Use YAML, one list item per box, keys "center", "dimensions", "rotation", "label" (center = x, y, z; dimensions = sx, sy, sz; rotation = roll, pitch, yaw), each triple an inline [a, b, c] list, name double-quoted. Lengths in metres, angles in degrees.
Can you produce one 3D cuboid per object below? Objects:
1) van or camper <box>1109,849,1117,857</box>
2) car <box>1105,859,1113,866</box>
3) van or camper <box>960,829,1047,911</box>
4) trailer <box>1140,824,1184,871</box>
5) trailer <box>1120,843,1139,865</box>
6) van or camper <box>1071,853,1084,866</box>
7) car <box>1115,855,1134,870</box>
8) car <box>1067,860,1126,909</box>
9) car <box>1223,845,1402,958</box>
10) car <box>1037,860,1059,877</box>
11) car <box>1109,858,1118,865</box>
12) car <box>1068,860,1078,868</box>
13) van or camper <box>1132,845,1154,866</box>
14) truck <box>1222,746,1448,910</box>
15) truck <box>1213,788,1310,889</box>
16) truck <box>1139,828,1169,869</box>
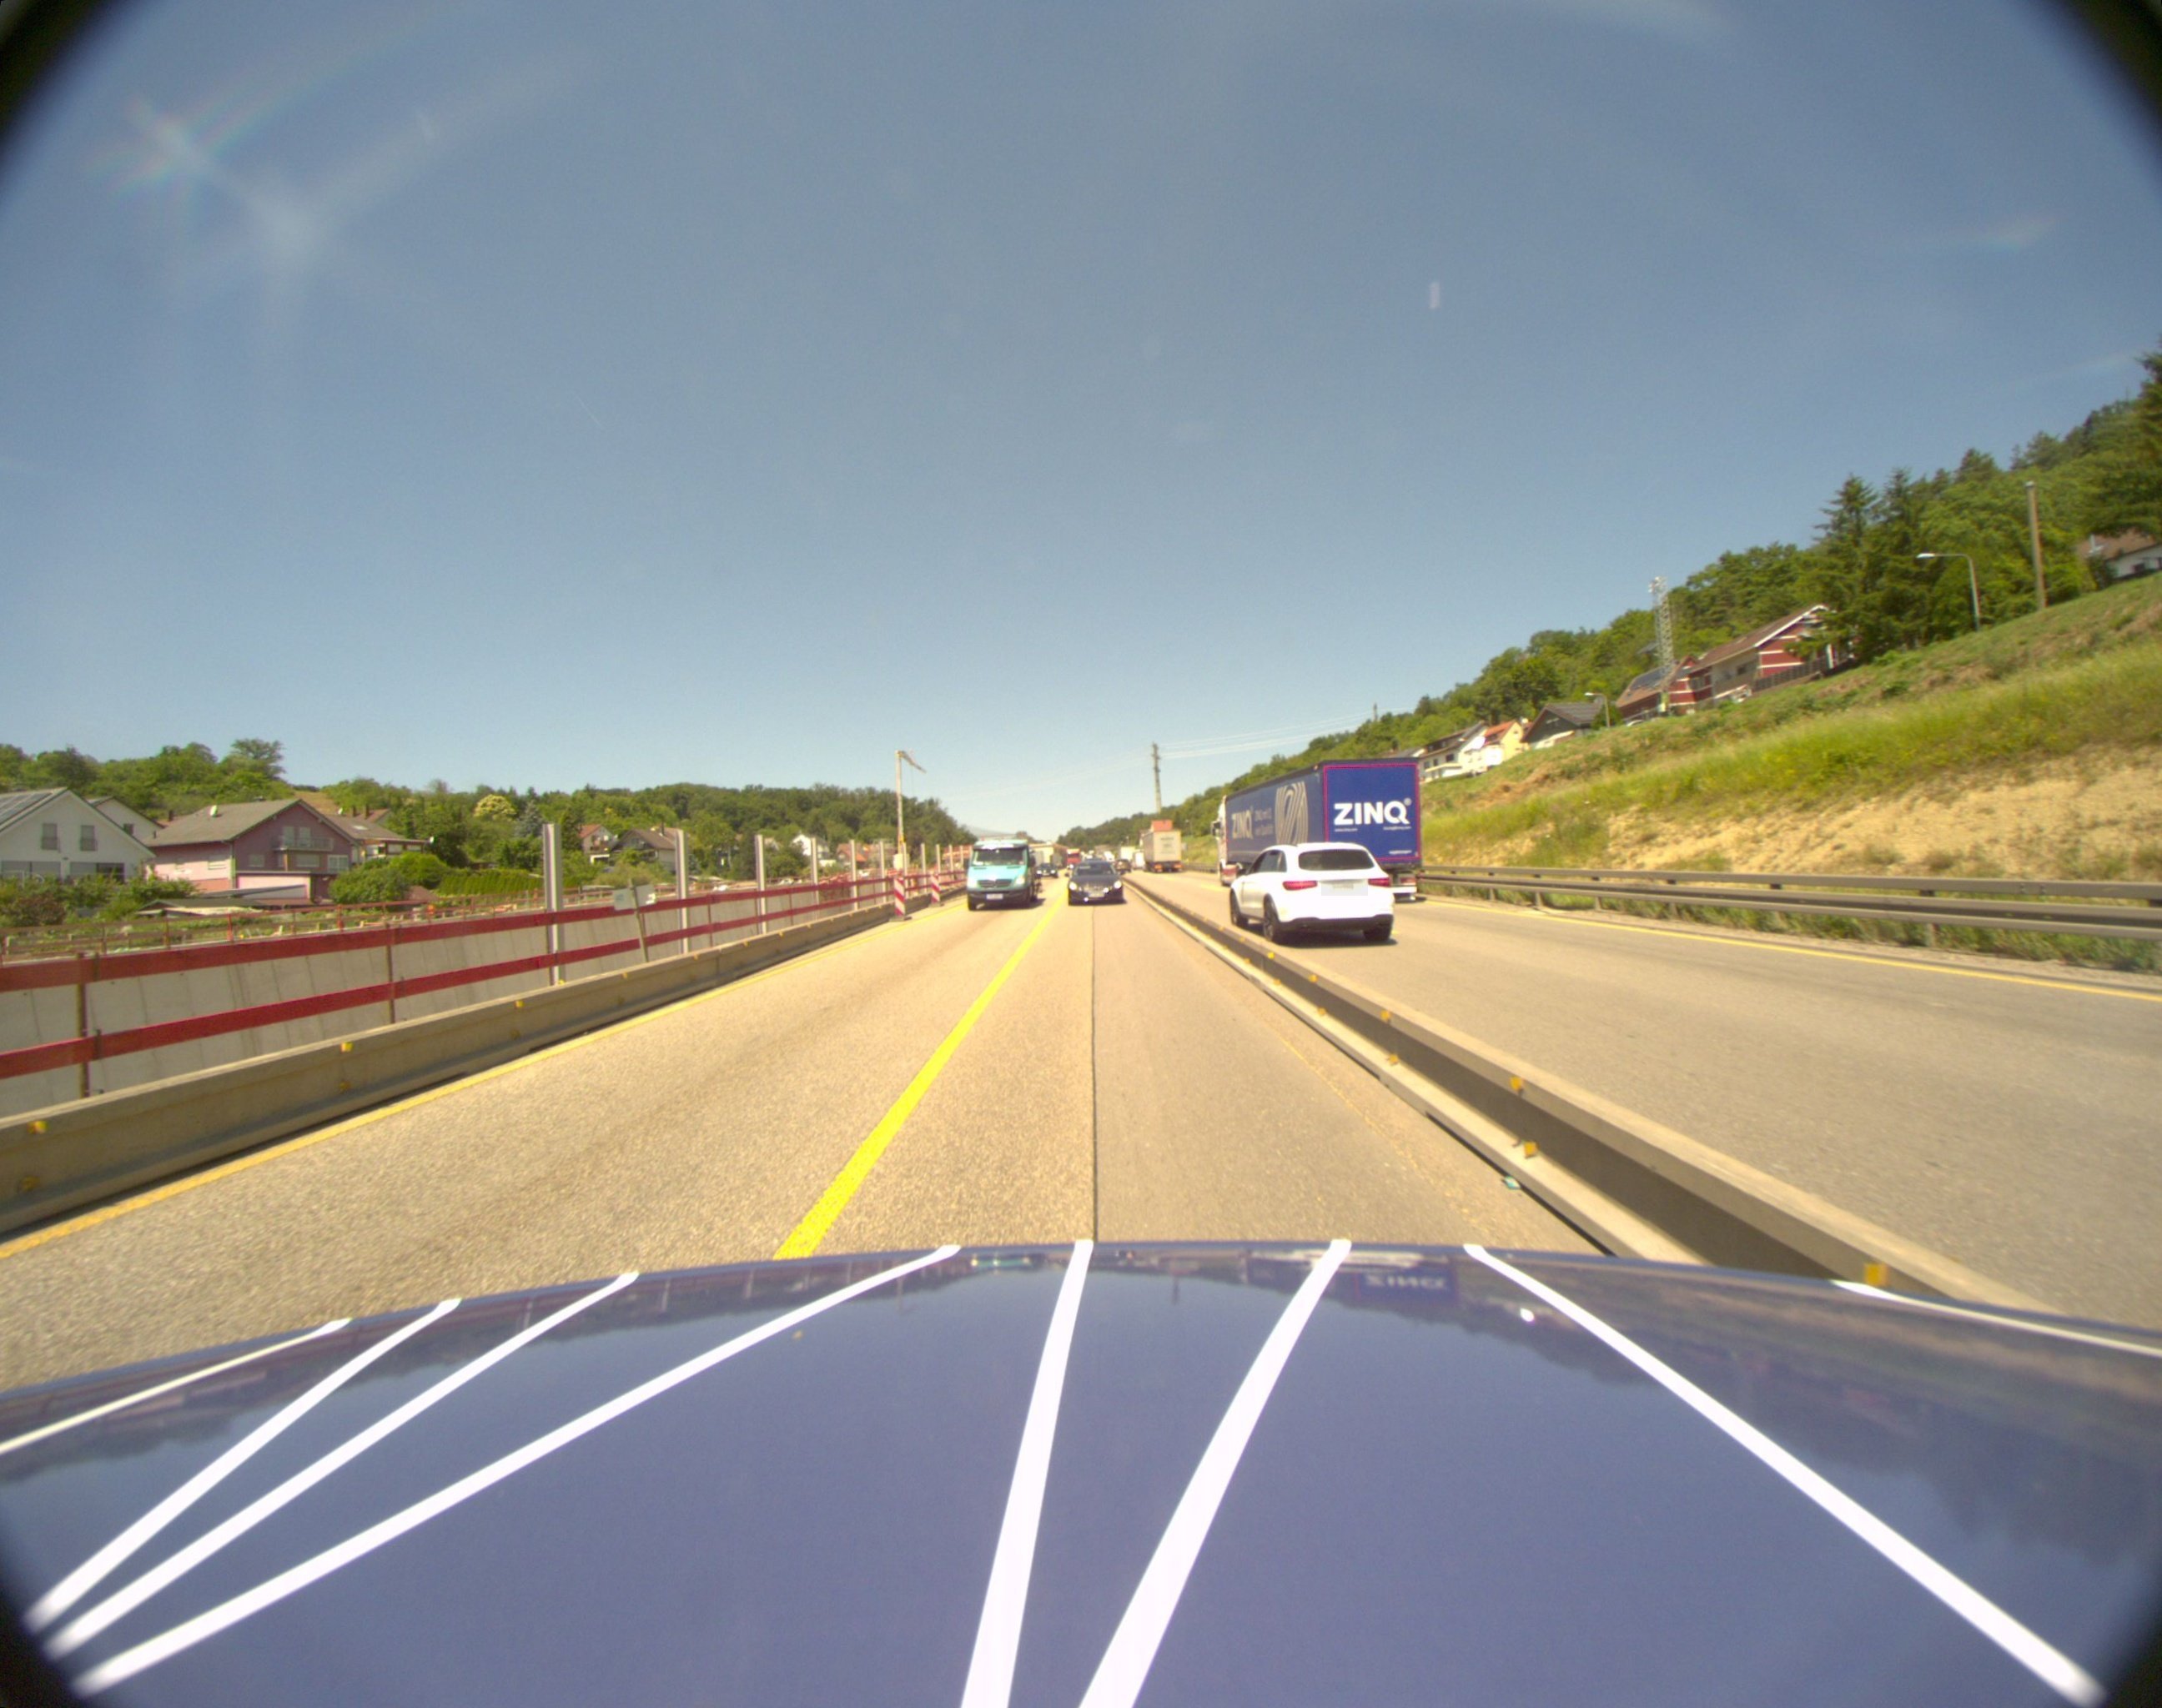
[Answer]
- center: [11.088, -0.434, 261.802]
  dimensions: [2.382, 2.634, 6.052]
  rotation: [-2, 0, 1]
  label: "van or camper"
- center: [6.637, 1.987, 182.382]
  dimensions: [1.758, 1.499, 4.000]
  rotation: [-4, 0, 1]
  label: "car"
- center: [-2.563, 0.518, 27.247]
  dimensions: [2.097, 2.458, 7.672]
  rotation: [-2, 0, 1]
  label: "van or camper"
- center: [8.072, -0.606, 77.658]
  dimensions: [2.817, 4.261, 14.035]
  rotation: [-2, 0, 0]
  label: "trailer"
- center: [9.390, 0.078, 149.512]
  dimensions: [2.864, 4.100, 13.438]
  rotation: [-2, 0, 0]
  label: "trailer"
- center: [-0.708, 1.210, 156.715]
  dimensions: [2.321, 2.513, 4.528]
  rotation: [-4, 0, 1]
  label: "van or camper"
- center: [4.774, 0.940, 83.774]
  dimensions: [1.853, 1.577, 4.174]
  rotation: [-2, 0, 0]
  label: "car"
- center: [0.500, 0.947, 25.237]
  dimensions: [1.746, 1.420, 4.000]
  rotation: [-2, 0, 1]
  label: "car"
- center: [3.851, 0.704, 13.479]
  dimensions: [1.817, 1.628, 4.362]
  rotation: [-2, 0, 0]
  label: "car"
- center: [-2.872, 1.255, 66.853]
  dimensions: [1.611, 1.324, 3.496]
  rotation: [-6, 0, 1]
  label: "car"
- center: [6.945, 1.589, 161.965]
  dimensions: [1.772, 1.354, 4.411]
  rotation: [-2, 0, 0]
  label: "car"
- center: [-1.417, 1.784, 138.199]
  dimensions: [1.679, 1.346, 3.487]
  rotation: [-4, 0, 1]
  label: "car"
- center: [8.601, 0.195, 105.928]
  dimensions: [2.340, 2.761, 7.517]
  rotation: [-2, 0, 0]
  label: "van or camper"
- center: [7.884, -0.685, 26.706]
  dimensions: [3.251, 4.135, 13.978]
  rotation: [-2, 0, 0]
  label: "truck"
- center: [7.940, -0.656, 33.992]
  dimensions: [3.247, 4.135, 4.247]
  rotation: [-2, 0, 0]
  label: "truck"
- center: [8.103, -0.604, 84.748]
  dimensions: [2.781, 4.261, 4.676]
  rotation: [-2, 0, 0]
  label: "truck"
